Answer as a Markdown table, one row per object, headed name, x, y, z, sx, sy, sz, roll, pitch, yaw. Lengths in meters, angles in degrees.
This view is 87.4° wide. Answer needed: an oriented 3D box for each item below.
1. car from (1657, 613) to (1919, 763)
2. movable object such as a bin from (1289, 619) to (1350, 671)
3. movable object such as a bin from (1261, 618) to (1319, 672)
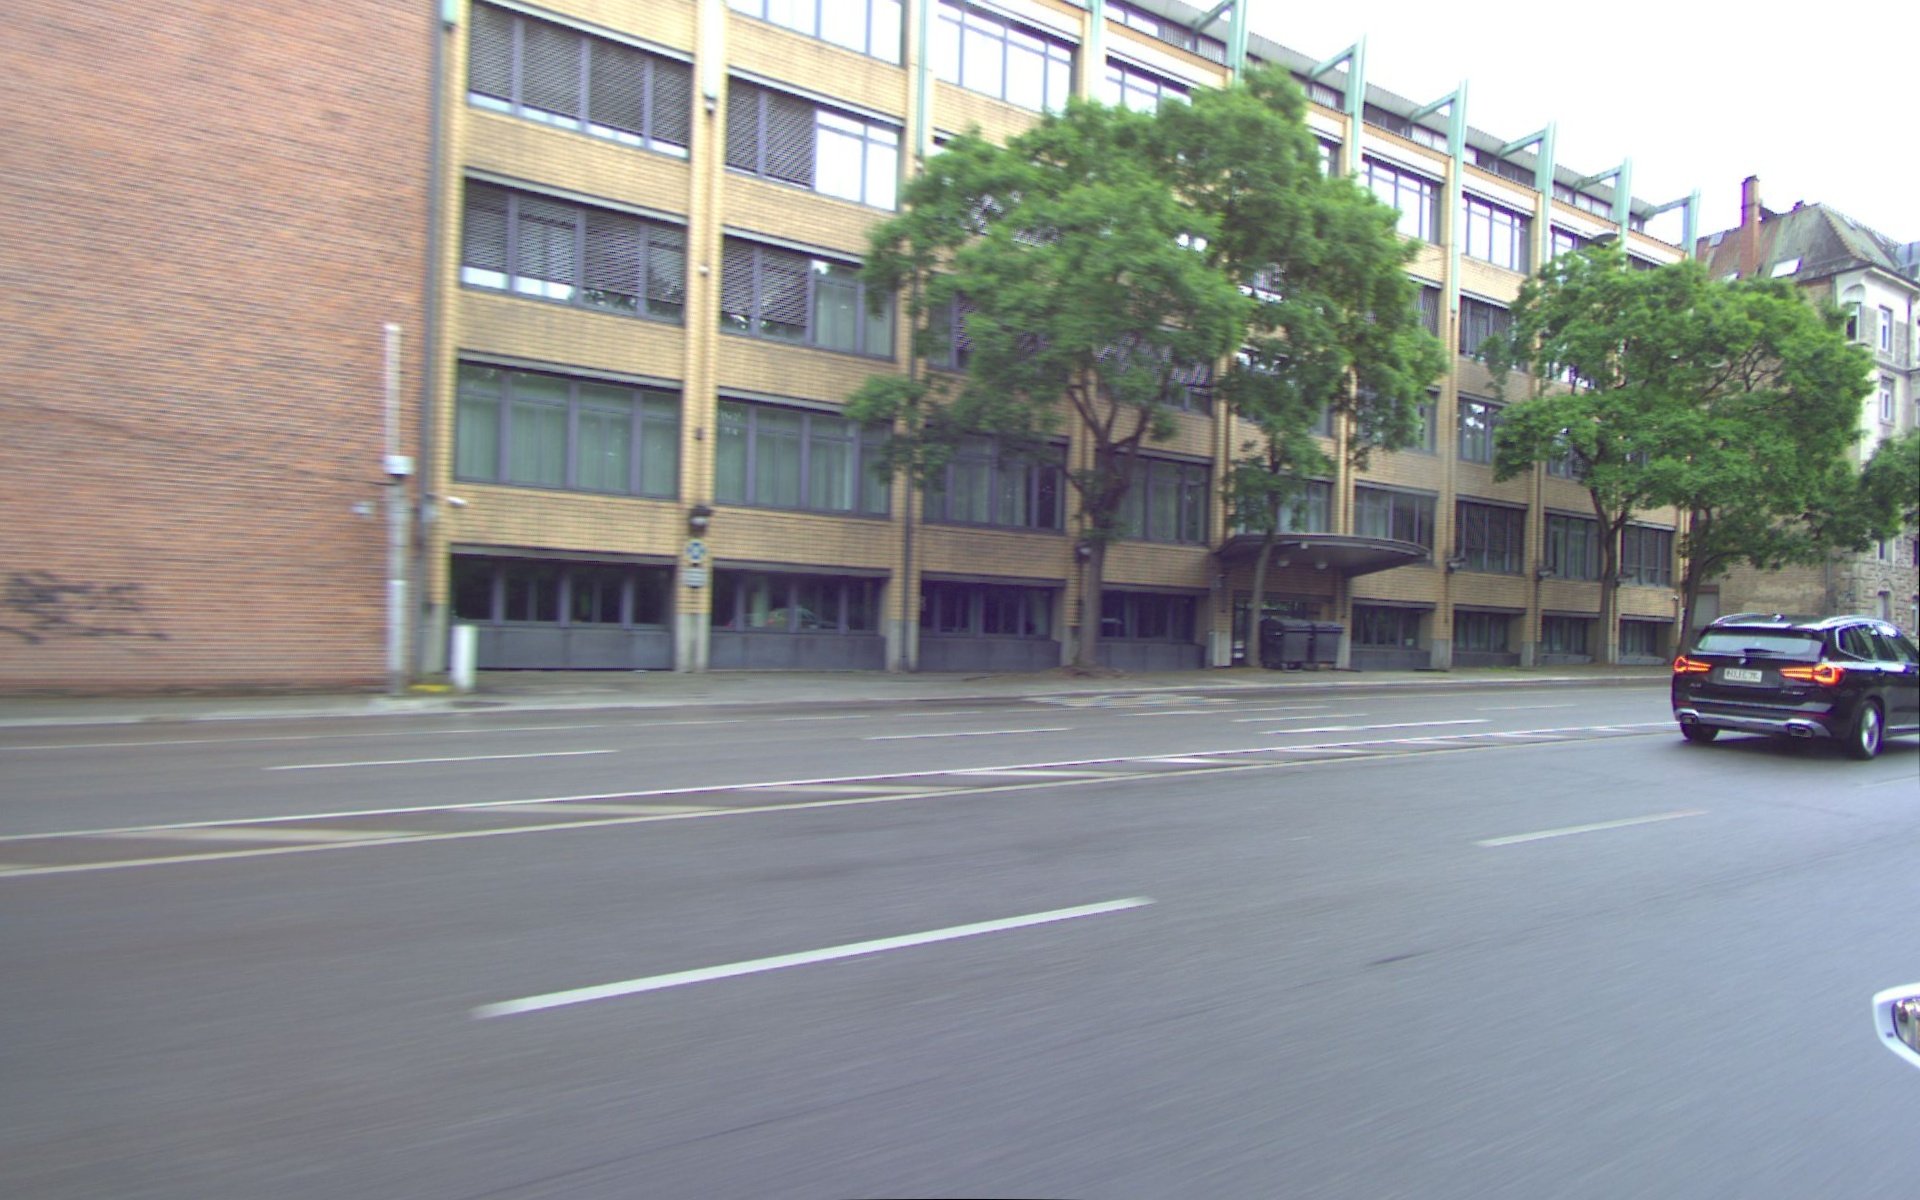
| name | x | y | z | sx | sy | sz | roll | pitch | yaw |
| --- | --- | --- | --- | --- | --- | --- | --- | --- | --- |
| car | 11.010 | 1.032 | 12.861 | 4.361 | 1.607 | 1.749 | 2 | -1 | -30 |
| movable object such as a bin | 10.516 | 1.299 | 29.400 | 1.358 | 1.455 | 1.061 | 1 | 1 | -34 |
| movable object such as a bin | 9.404 | 1.261 | 28.652 | 1.301 | 1.455 | 0.967 | 1 | 1 | -34 |
